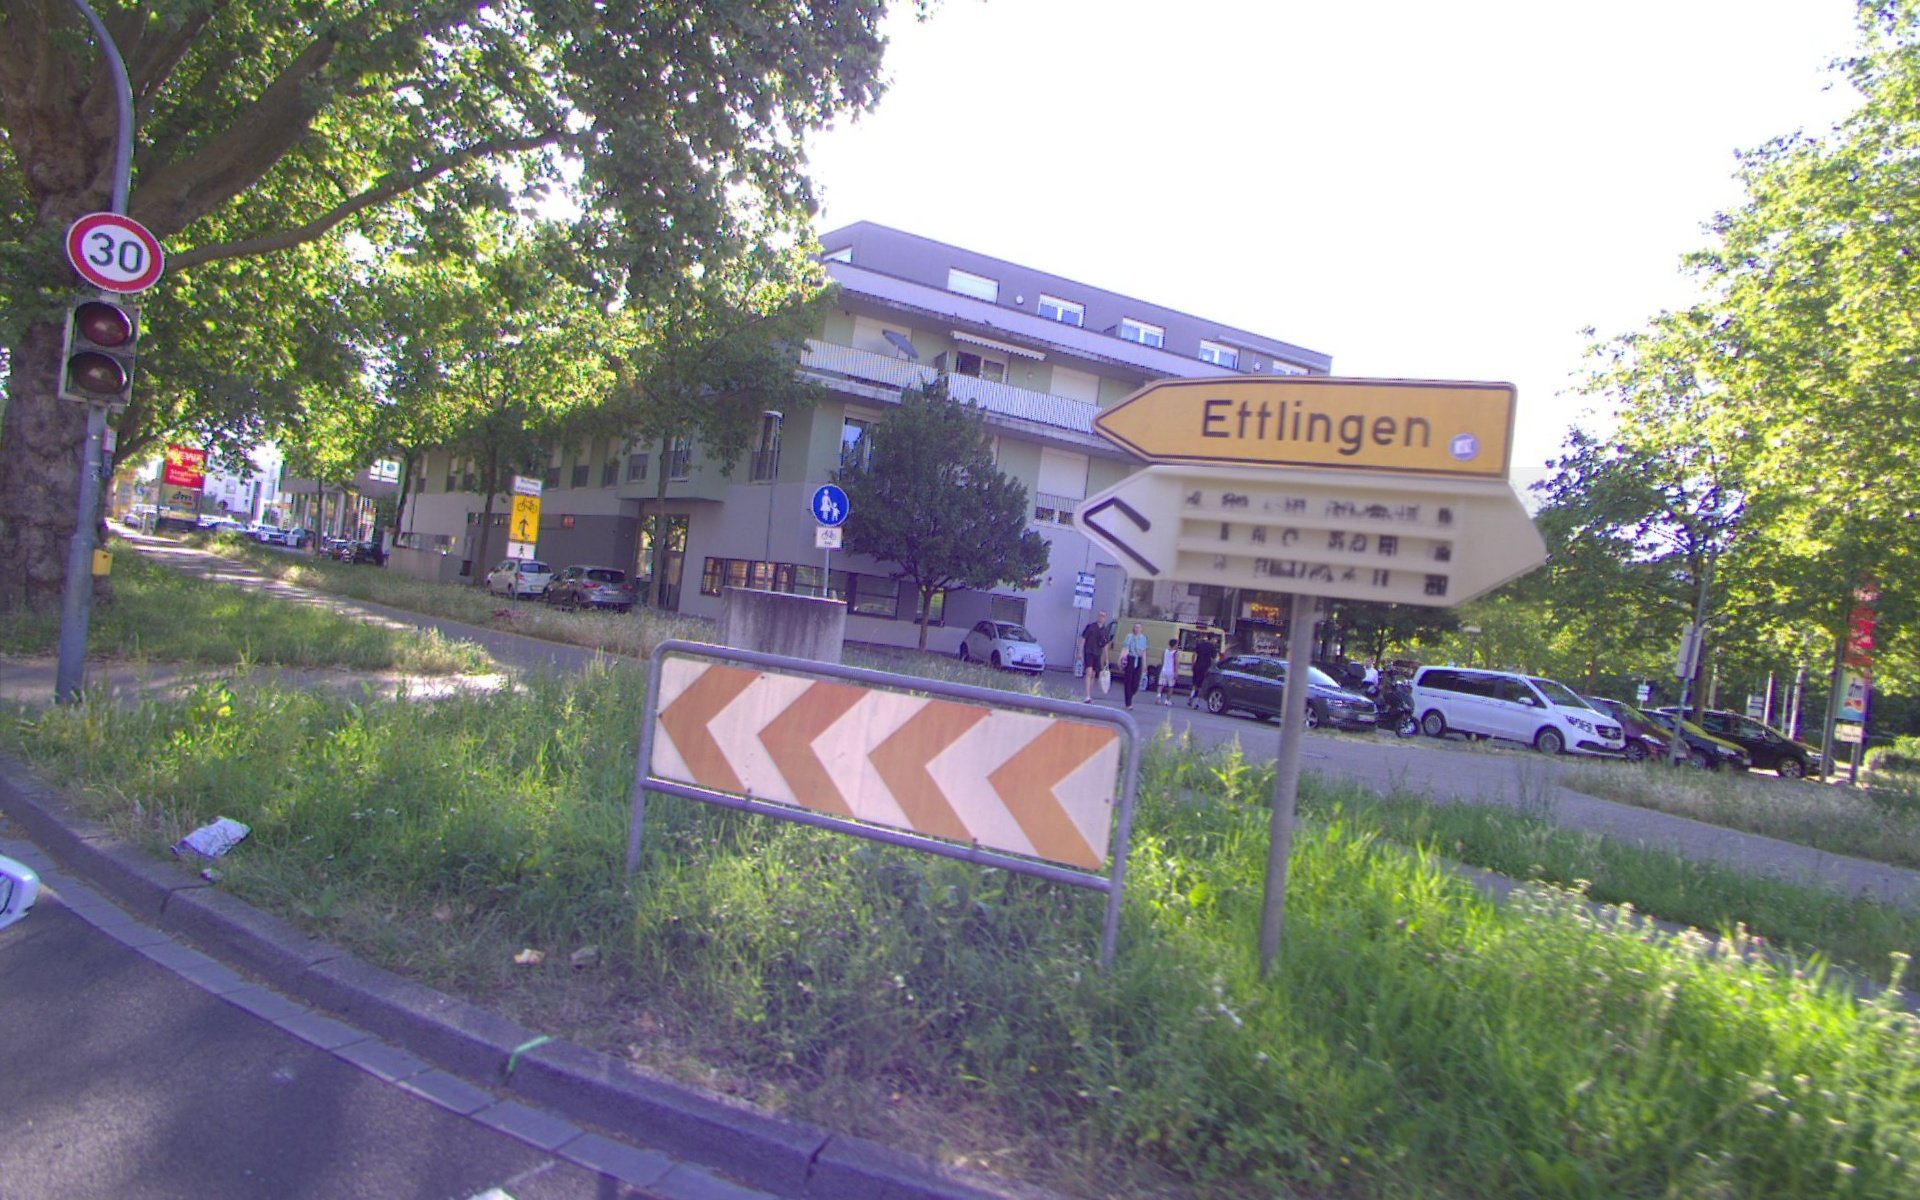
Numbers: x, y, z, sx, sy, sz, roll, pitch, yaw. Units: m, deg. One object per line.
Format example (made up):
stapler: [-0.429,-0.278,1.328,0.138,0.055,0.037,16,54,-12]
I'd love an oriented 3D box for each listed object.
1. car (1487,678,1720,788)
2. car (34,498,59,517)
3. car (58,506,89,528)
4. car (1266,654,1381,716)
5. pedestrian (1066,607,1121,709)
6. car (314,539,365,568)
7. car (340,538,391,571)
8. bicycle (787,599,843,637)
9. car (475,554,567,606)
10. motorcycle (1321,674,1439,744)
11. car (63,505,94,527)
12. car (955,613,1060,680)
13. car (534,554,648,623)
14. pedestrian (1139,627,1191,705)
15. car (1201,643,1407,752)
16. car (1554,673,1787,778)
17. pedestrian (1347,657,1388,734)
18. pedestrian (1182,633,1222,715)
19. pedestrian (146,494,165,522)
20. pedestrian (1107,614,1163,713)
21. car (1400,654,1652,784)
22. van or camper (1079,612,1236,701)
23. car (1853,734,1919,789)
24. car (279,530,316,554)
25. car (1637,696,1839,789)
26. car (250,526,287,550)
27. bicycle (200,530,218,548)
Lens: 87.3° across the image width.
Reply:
car: [16.629,3.383,26.290,1.977,1.798,4.601,8,2,-25]
car: [-119.103,-12.062,131.194,3.949,2.036,1.990,4,-3,44]
car: [-74.035,-6.915,84.041,1.802,1.558,4.530,4,1,-42]
car: [12.816,2.987,35.664,1.559,1.653,3.655,8,-1,-25]
pedestrian: [2.695,1.165,20.414,0.768,1.956,0.839,7,0,0]
car: [-39.800,-2.982,64.494,1.854,1.486,4.073,8,-1,-44]
car: [-35.224,-2.708,59.572,1.852,1.571,3.715,8,-1,-42]
bicycle: [-4.779,0.593,33.185,1.658,1.030,0.585,7,0,-23]
car: [-16.807,-0.791,38.408,1.852,1.561,4.269,8,-1,-42]
motorcycle: [9.656,2.490,23.234,0.941,1.263,2.299,7,-1,-29]
car: [-69.369,-6.625,79.165,1.629,1.486,3.972,6,0,-44]
car: [1.423,1.424,31.498,1.655,1.473,3.533,8,2,-25]
car: [-12.054,-0.412,32.711,1.898,1.792,4.269,7,-1,-42]
pedestrian: [4.926,1.568,24.135,0.932,1.719,0.884,7,0,18]
car: [7.331,2.048,21.840,1.658,1.542,3.952,7,2,-30]
car: [19.051,3.316,27.259,1.977,1.798,4.601,8,2,-25]
pedestrian: [9.900,2.321,24.442,0.555,1.771,0.528,7,-2,-31]
pedestrian: [5.785,1.759,23.997,0.673,1.832,0.965,7,0,17]
pedestrian: [-53.648,-6.142,67.093,0.654,1.784,0.767,7,2,37]
pedestrian: [3.562,1.278,20.520,0.788,1.903,0.785,7,0,0]
car: [13.842,2.837,25.008,1.977,2.123,5.017,8,2,-25]
van or camper: [6.352,1.779,33.186,2.236,2.274,5.341,7,-1,-23]
car: [36.834,6.271,38.069,4.042,1.819,1.999,5,-2,29]
car: [-60.064,-5.236,91.183,1.980,1.754,4.129,8,-1,-44]
car: [23.988,4.311,31.134,1.990,1.798,4.571,7,3,-45]
car: [-61.778,-5.533,89.840,1.871,1.754,4.127,8,-1,-45]
bicycle: [-50.491,-4.105,67.595,1.462,1.016,0.383,7,0,32]
